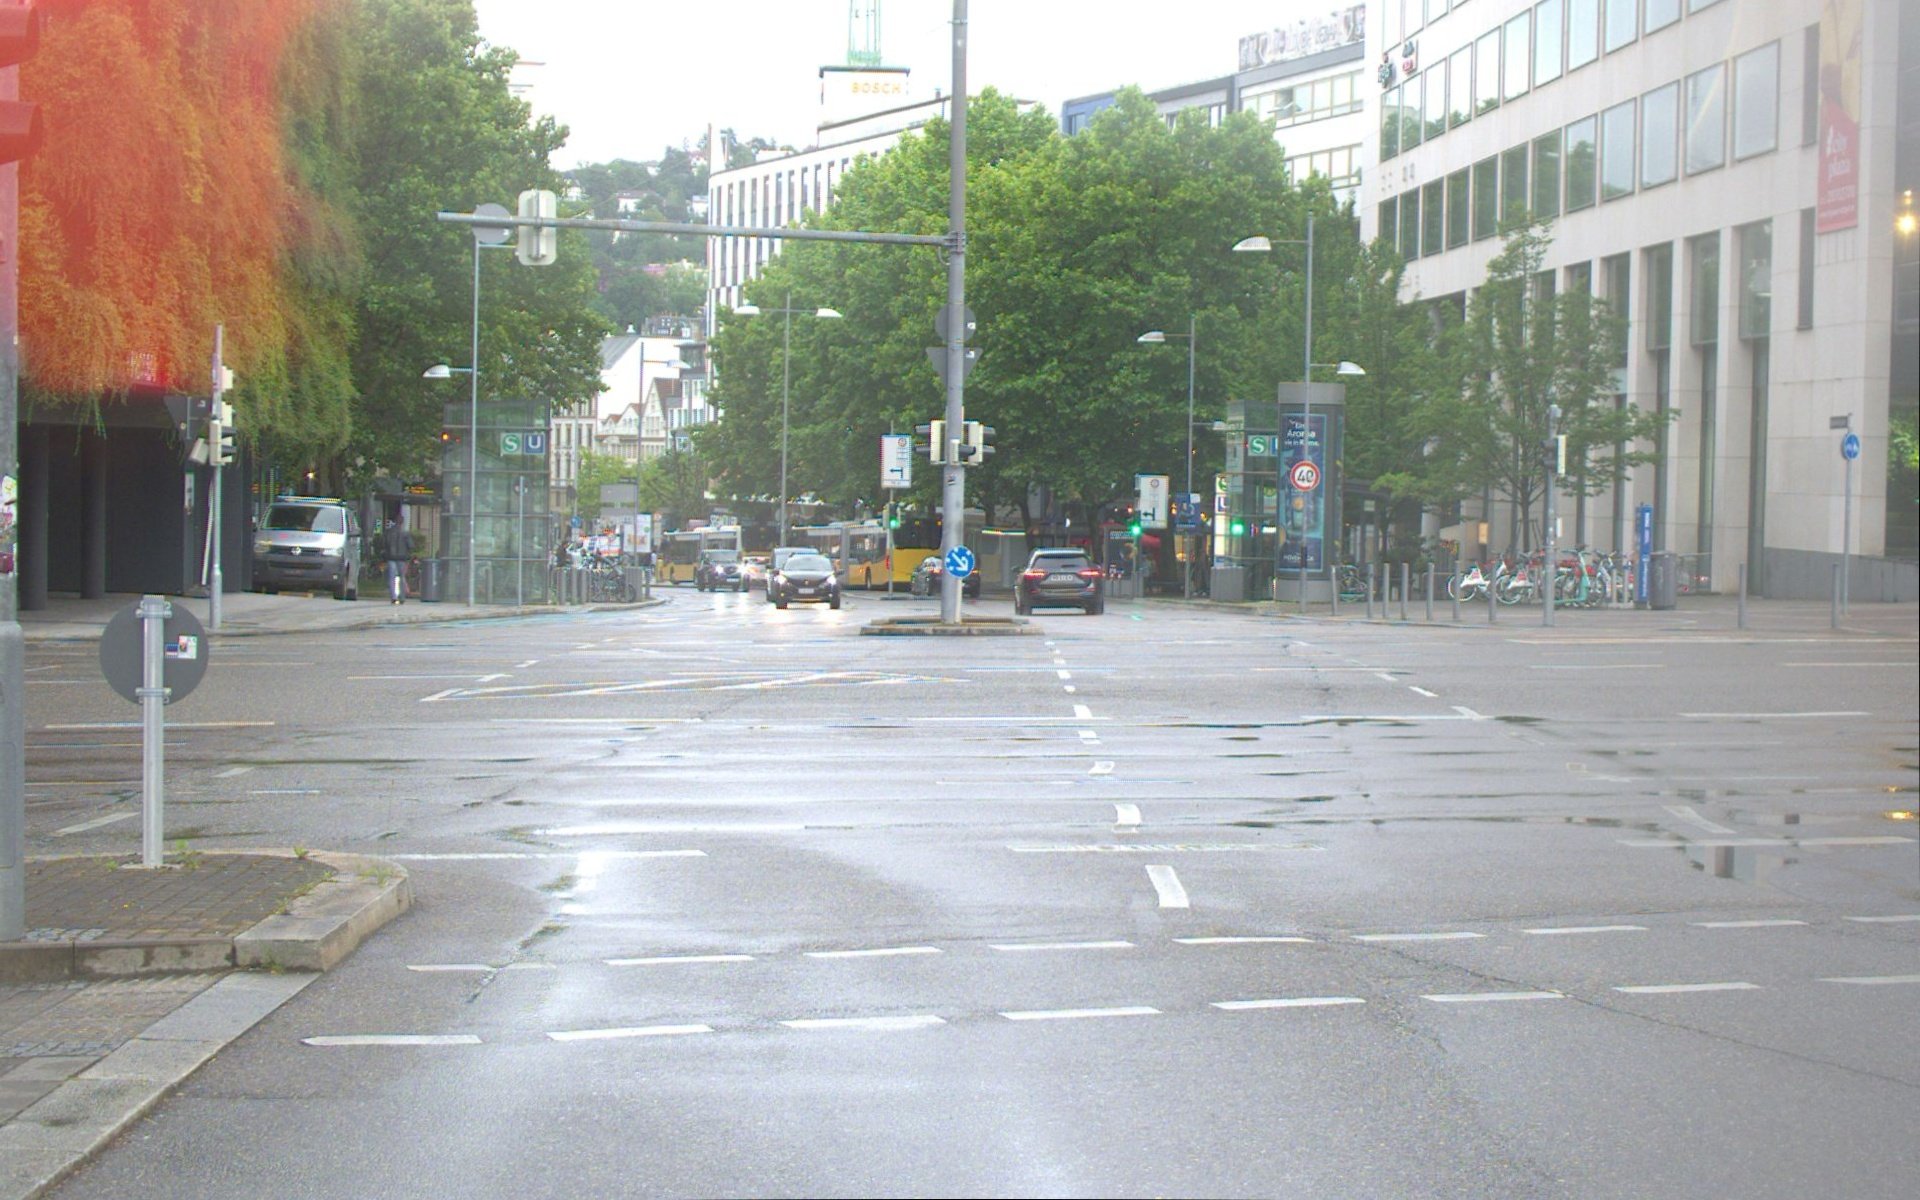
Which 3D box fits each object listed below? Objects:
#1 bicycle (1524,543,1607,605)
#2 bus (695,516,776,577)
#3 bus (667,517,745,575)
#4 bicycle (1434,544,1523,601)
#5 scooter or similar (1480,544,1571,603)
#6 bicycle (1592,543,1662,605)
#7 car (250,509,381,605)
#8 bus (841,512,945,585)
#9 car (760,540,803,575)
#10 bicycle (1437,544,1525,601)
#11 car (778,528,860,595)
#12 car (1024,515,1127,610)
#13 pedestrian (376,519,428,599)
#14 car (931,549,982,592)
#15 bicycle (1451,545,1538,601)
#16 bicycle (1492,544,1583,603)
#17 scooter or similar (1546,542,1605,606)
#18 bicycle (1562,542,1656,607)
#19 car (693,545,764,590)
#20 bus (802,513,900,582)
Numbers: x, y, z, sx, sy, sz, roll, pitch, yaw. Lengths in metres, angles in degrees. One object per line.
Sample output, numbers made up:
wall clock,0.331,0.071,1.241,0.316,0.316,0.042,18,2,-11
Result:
bicycle,11.692,-0.507,66.398,0.584,1.190,1.784,1,1,-28
bus,-11.359,-2.717,173.233,2.627,2.985,7.330,0,1,-16
bus,-13.374,-2.869,180.330,2.627,2.985,7.451,0,1,-16
bicycle,10.976,-0.580,72.777,1.777,1.190,0.586,1,0,2
scooter or similar,11.669,-0.552,70.986,1.777,1.190,0.586,1,0,2
bicycle,12.995,-0.494,66.956,0.586,1.190,1.779,1,1,38
car,-12.778,-0.852,68.332,1.870,1.833,4.000,1,1,-1
bus,-2.902,-2.209,145.943,2.627,2.985,7.451,0,1,-16
car,-8.097,-1.929,156.362,1.781,1.503,4.000,1,1,-1
bicycle,11.124,-0.584,73.411,1.777,1.190,0.586,1,0,2
car,-3.933,-1.061,95.049,2.164,1.759,5.112,1,1,-3
car,2.566,-0.828,75.643,1.544,2.007,4.666,1,1,11
pedestrian,-11.634,-0.856,71.716,0.933,1.638,0.774,1,0,-1
car,-0.155,-1.082,123.947,1.781,1.503,4.000,1,1,-1
bicycle,11.552,-0.587,74.329,1.777,1.190,0.586,1,0,2
bicycle,12.023,-0.554,71.608,1.777,1.190,0.586,1,0,2
scooter or similar,11.481,-0.487,64.161,0.963,1.190,0.454,1,1,40
bicycle,12.235,-0.484,64.846,1.624,1.190,0.586,1,0,26
car,-9.503,-1.331,140.735,2.163,1.759,5.113,1,1,-12
bus,-4.916,-2.349,153.089,2.627,2.985,7.451,0,1,-16
